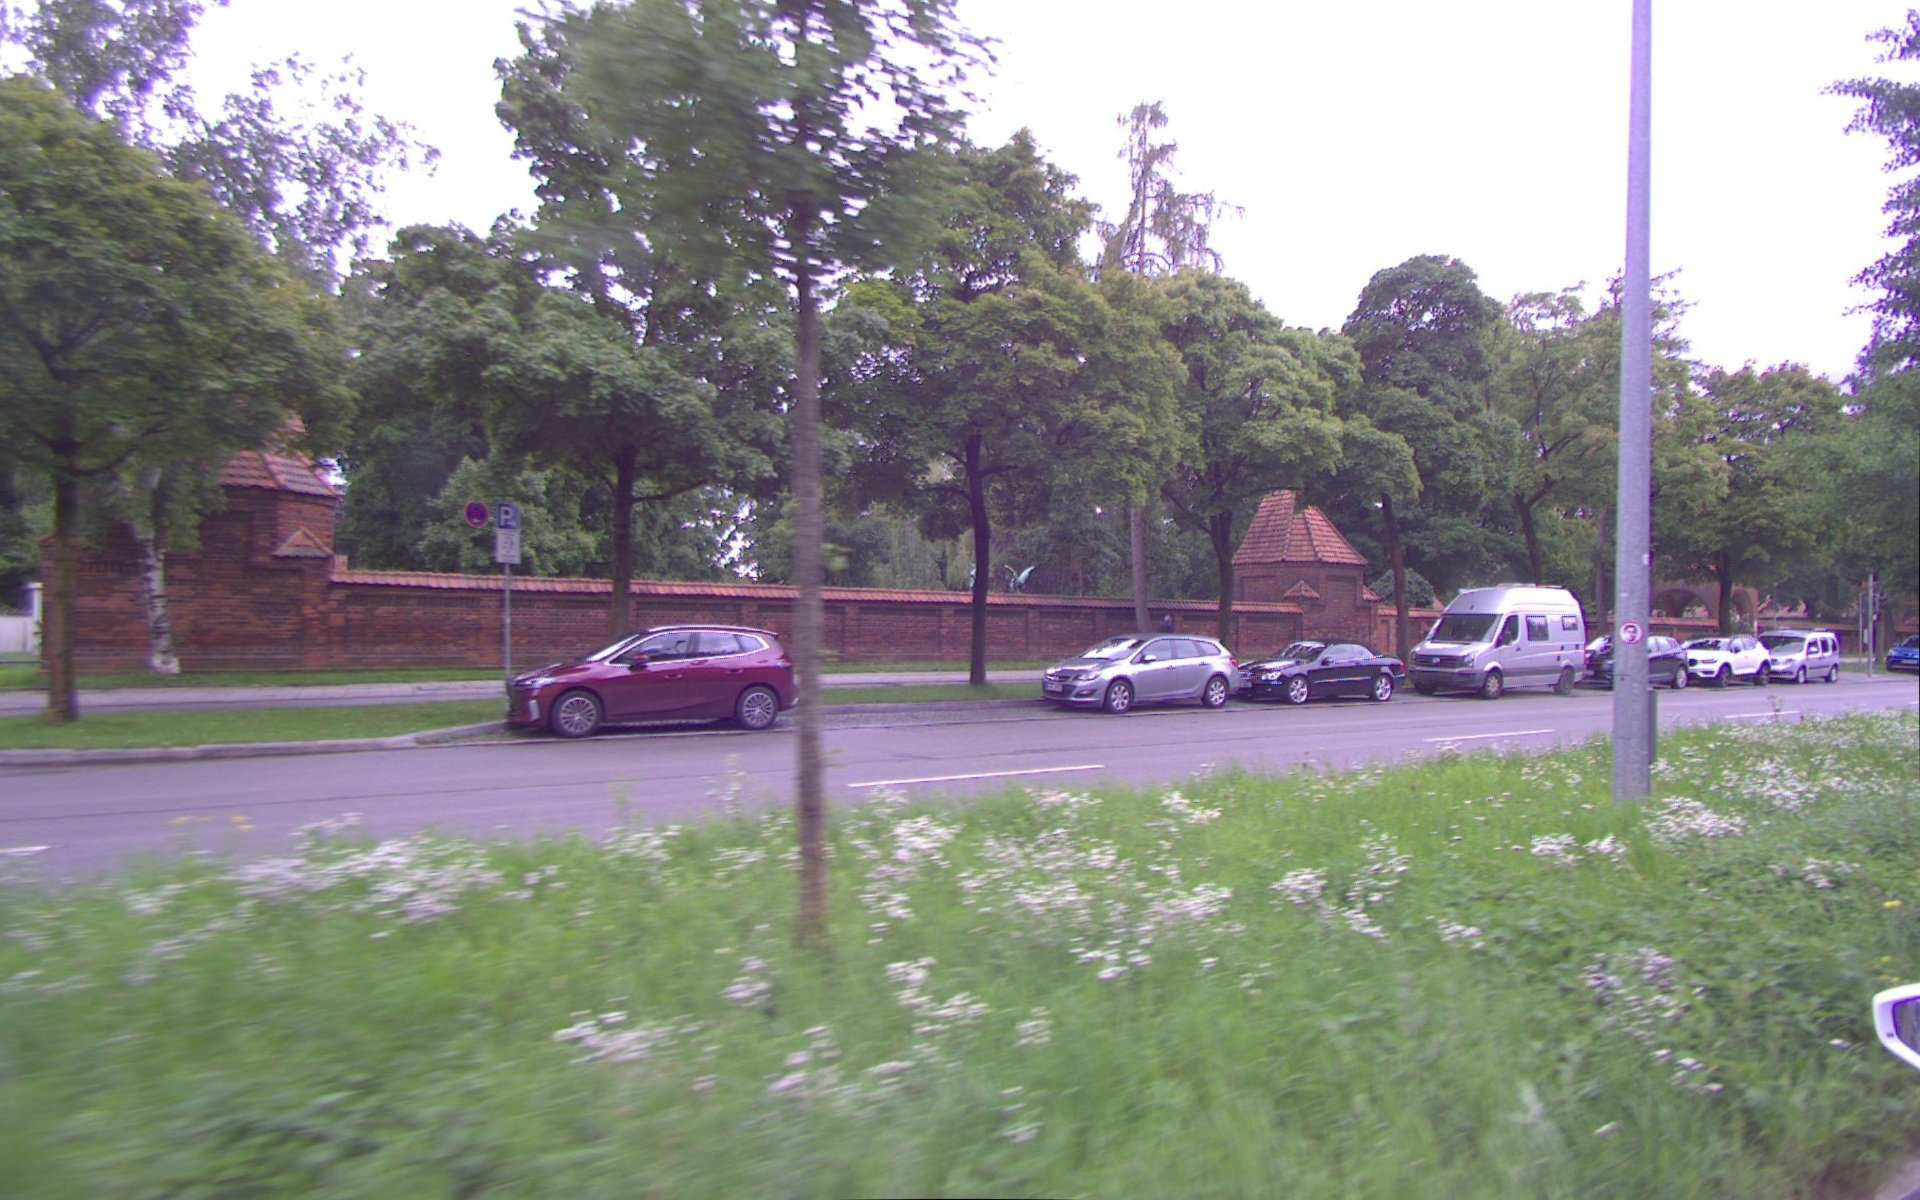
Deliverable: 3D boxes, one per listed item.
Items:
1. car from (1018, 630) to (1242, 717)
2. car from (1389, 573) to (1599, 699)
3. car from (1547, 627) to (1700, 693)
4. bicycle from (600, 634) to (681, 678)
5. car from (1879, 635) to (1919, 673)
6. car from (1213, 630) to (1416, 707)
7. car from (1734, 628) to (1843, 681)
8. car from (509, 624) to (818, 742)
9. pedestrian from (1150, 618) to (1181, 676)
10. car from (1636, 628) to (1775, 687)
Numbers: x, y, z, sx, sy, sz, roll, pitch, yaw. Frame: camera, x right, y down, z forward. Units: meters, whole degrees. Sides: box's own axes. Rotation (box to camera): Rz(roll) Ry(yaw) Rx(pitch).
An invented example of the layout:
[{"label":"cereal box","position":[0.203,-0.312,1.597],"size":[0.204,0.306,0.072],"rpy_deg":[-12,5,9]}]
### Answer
[{"label":"car","position":[3.504,1.425,20.420],"size":[4.390,1.557,1.804],"rpy_deg":[1,-1,-31]},{"label":"car","position":[14.183,0.930,26.510],"size":[6.124,2.993,2.173],"rpy_deg":[1,0,-33]},{"label":"car","position":[19.812,1.736,29.942],"size":[4.528,1.759,2.173],"rpy_deg":[1,-1,-33]},{"label":"bicycle","position":[-7.126,1.240,22.426],"size":[1.602,0.949,0.651],"rpy_deg":[1,-1,-33]},{"label":"car","position":[40.850,2.261,42.575],"size":[3.953,1.554,1.698],"rpy_deg":[1,-1,-30]},{"label":"car","position":[8.200,1.516,23.120],"size":[4.764,1.557,1.804],"rpy_deg":[1,-1,-31]},{"label":"car","position":[28.950,1.878,35.083],"size":[3.953,1.756,1.698],"rpy_deg":[1,-1,-30]},{"label":"car","position":[-4.504,1.182,15.430],"size":[4.249,1.557,1.804],"rpy_deg":[1,-1,-31]},{"label":"pedestrian","position":[5.746,1.309,28.120],"size":[0.778,1.588,0.777],"rpy_deg":[1,-1,6]},{"label":"car","position":[24.186,1.818,32.575],"size":[4.528,1.759,2.173],"rpy_deg":[1,-1,-33]}]
